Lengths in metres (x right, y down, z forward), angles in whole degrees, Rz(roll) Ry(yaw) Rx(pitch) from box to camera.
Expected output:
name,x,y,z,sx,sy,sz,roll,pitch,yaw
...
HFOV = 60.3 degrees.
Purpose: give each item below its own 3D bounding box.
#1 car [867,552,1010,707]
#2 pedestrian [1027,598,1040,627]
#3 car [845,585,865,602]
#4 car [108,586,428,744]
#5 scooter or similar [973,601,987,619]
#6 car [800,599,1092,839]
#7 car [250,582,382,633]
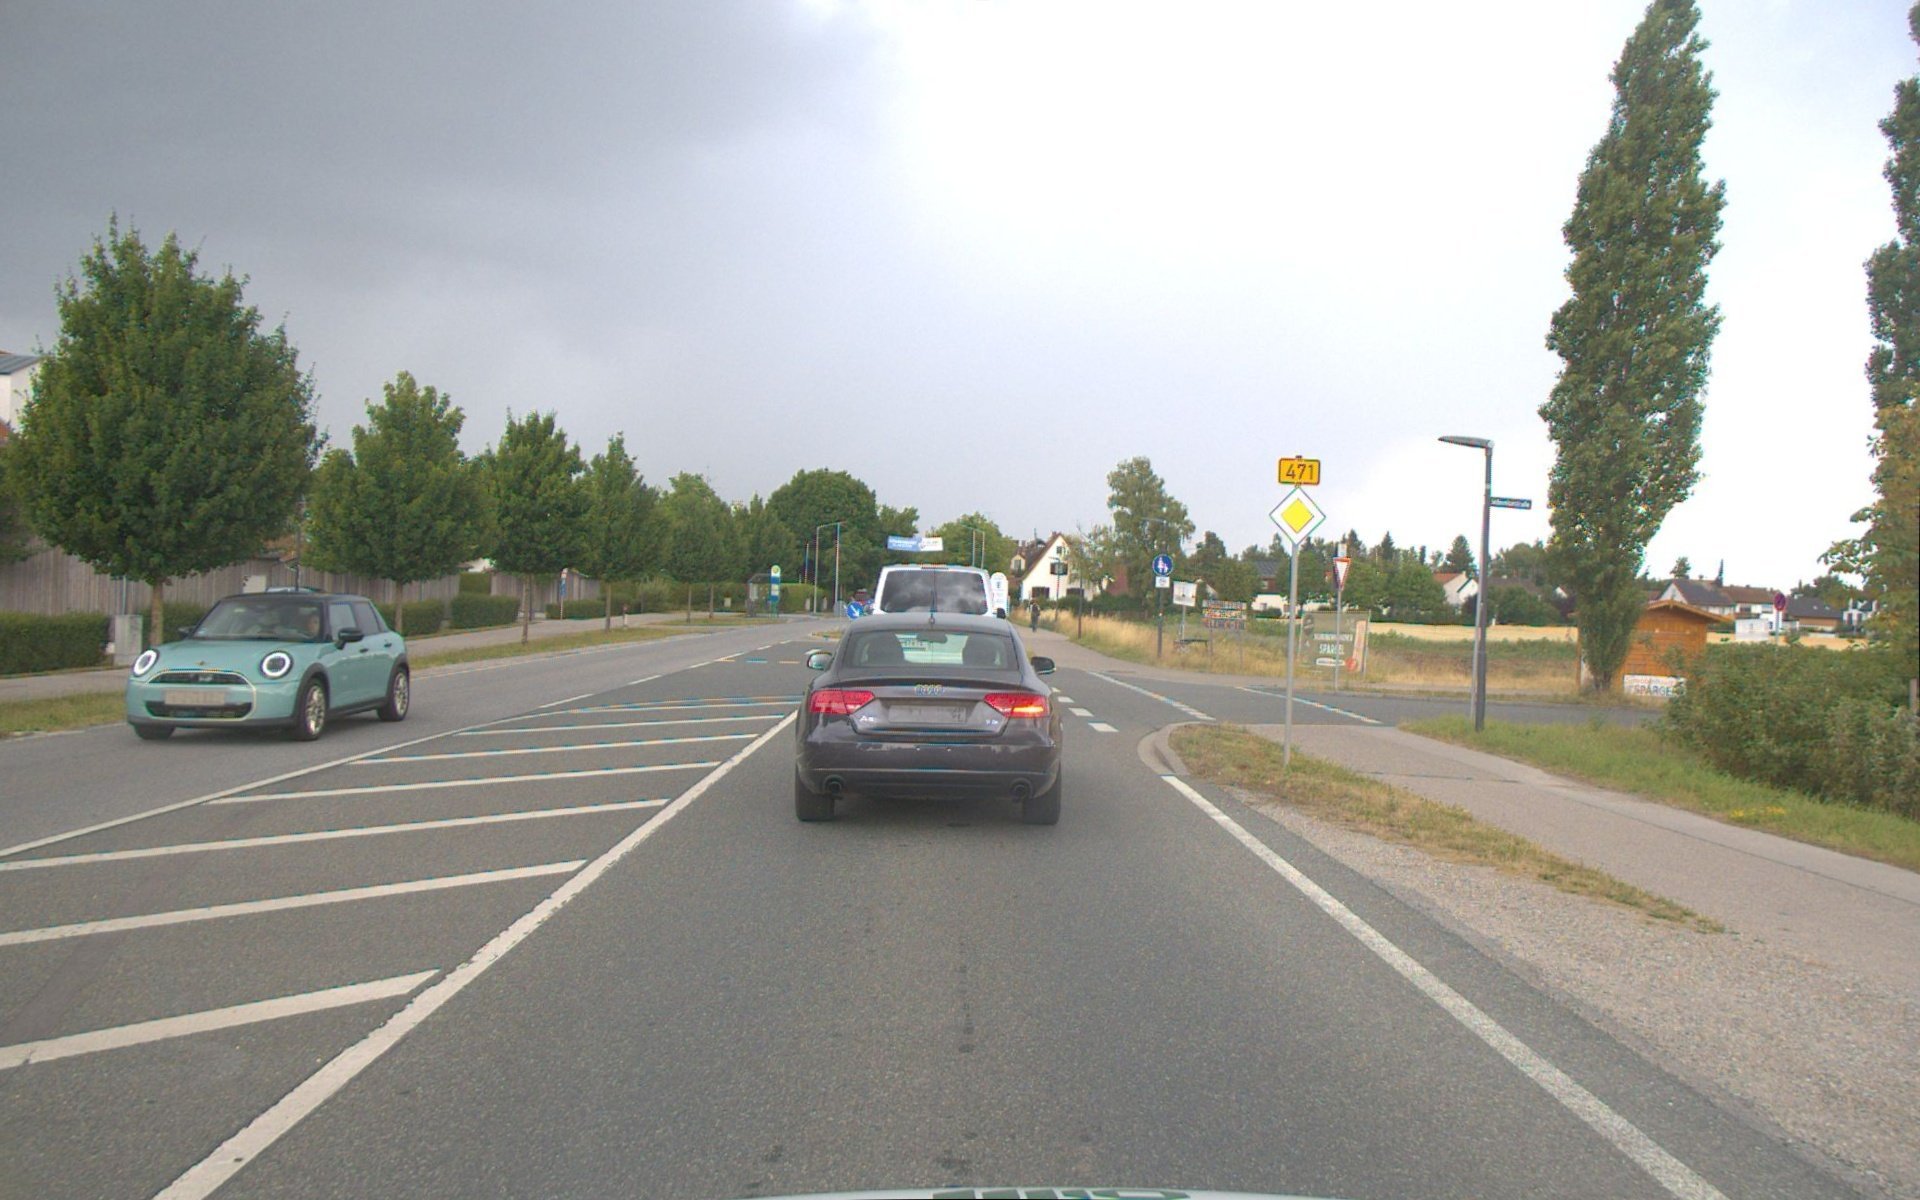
name,x,y,z,sx,sy,sz,roll,pitch,yaw
car,-0.354,0.374,23.725,1.789,1.946,3.998,3,0,-2
pedestrian,3.911,0.675,88.153,0.611,1.551,0.679,0,0,-1
car,-9.218,-0.591,145.312,1.620,1.454,3.601,0,0,-1
car,-7.123,0.591,17.490,1.734,1.469,3.999,0,0,-1
scooter or similar,1.260,0.608,103.920,0.831,1.123,1.094,0,0,-1
car,-0.271,0.717,12.269,1.790,1.413,4.383,0,1,-5
car,-23.338,0.269,60.056,3.905,1.583,2.000,3,0,0
